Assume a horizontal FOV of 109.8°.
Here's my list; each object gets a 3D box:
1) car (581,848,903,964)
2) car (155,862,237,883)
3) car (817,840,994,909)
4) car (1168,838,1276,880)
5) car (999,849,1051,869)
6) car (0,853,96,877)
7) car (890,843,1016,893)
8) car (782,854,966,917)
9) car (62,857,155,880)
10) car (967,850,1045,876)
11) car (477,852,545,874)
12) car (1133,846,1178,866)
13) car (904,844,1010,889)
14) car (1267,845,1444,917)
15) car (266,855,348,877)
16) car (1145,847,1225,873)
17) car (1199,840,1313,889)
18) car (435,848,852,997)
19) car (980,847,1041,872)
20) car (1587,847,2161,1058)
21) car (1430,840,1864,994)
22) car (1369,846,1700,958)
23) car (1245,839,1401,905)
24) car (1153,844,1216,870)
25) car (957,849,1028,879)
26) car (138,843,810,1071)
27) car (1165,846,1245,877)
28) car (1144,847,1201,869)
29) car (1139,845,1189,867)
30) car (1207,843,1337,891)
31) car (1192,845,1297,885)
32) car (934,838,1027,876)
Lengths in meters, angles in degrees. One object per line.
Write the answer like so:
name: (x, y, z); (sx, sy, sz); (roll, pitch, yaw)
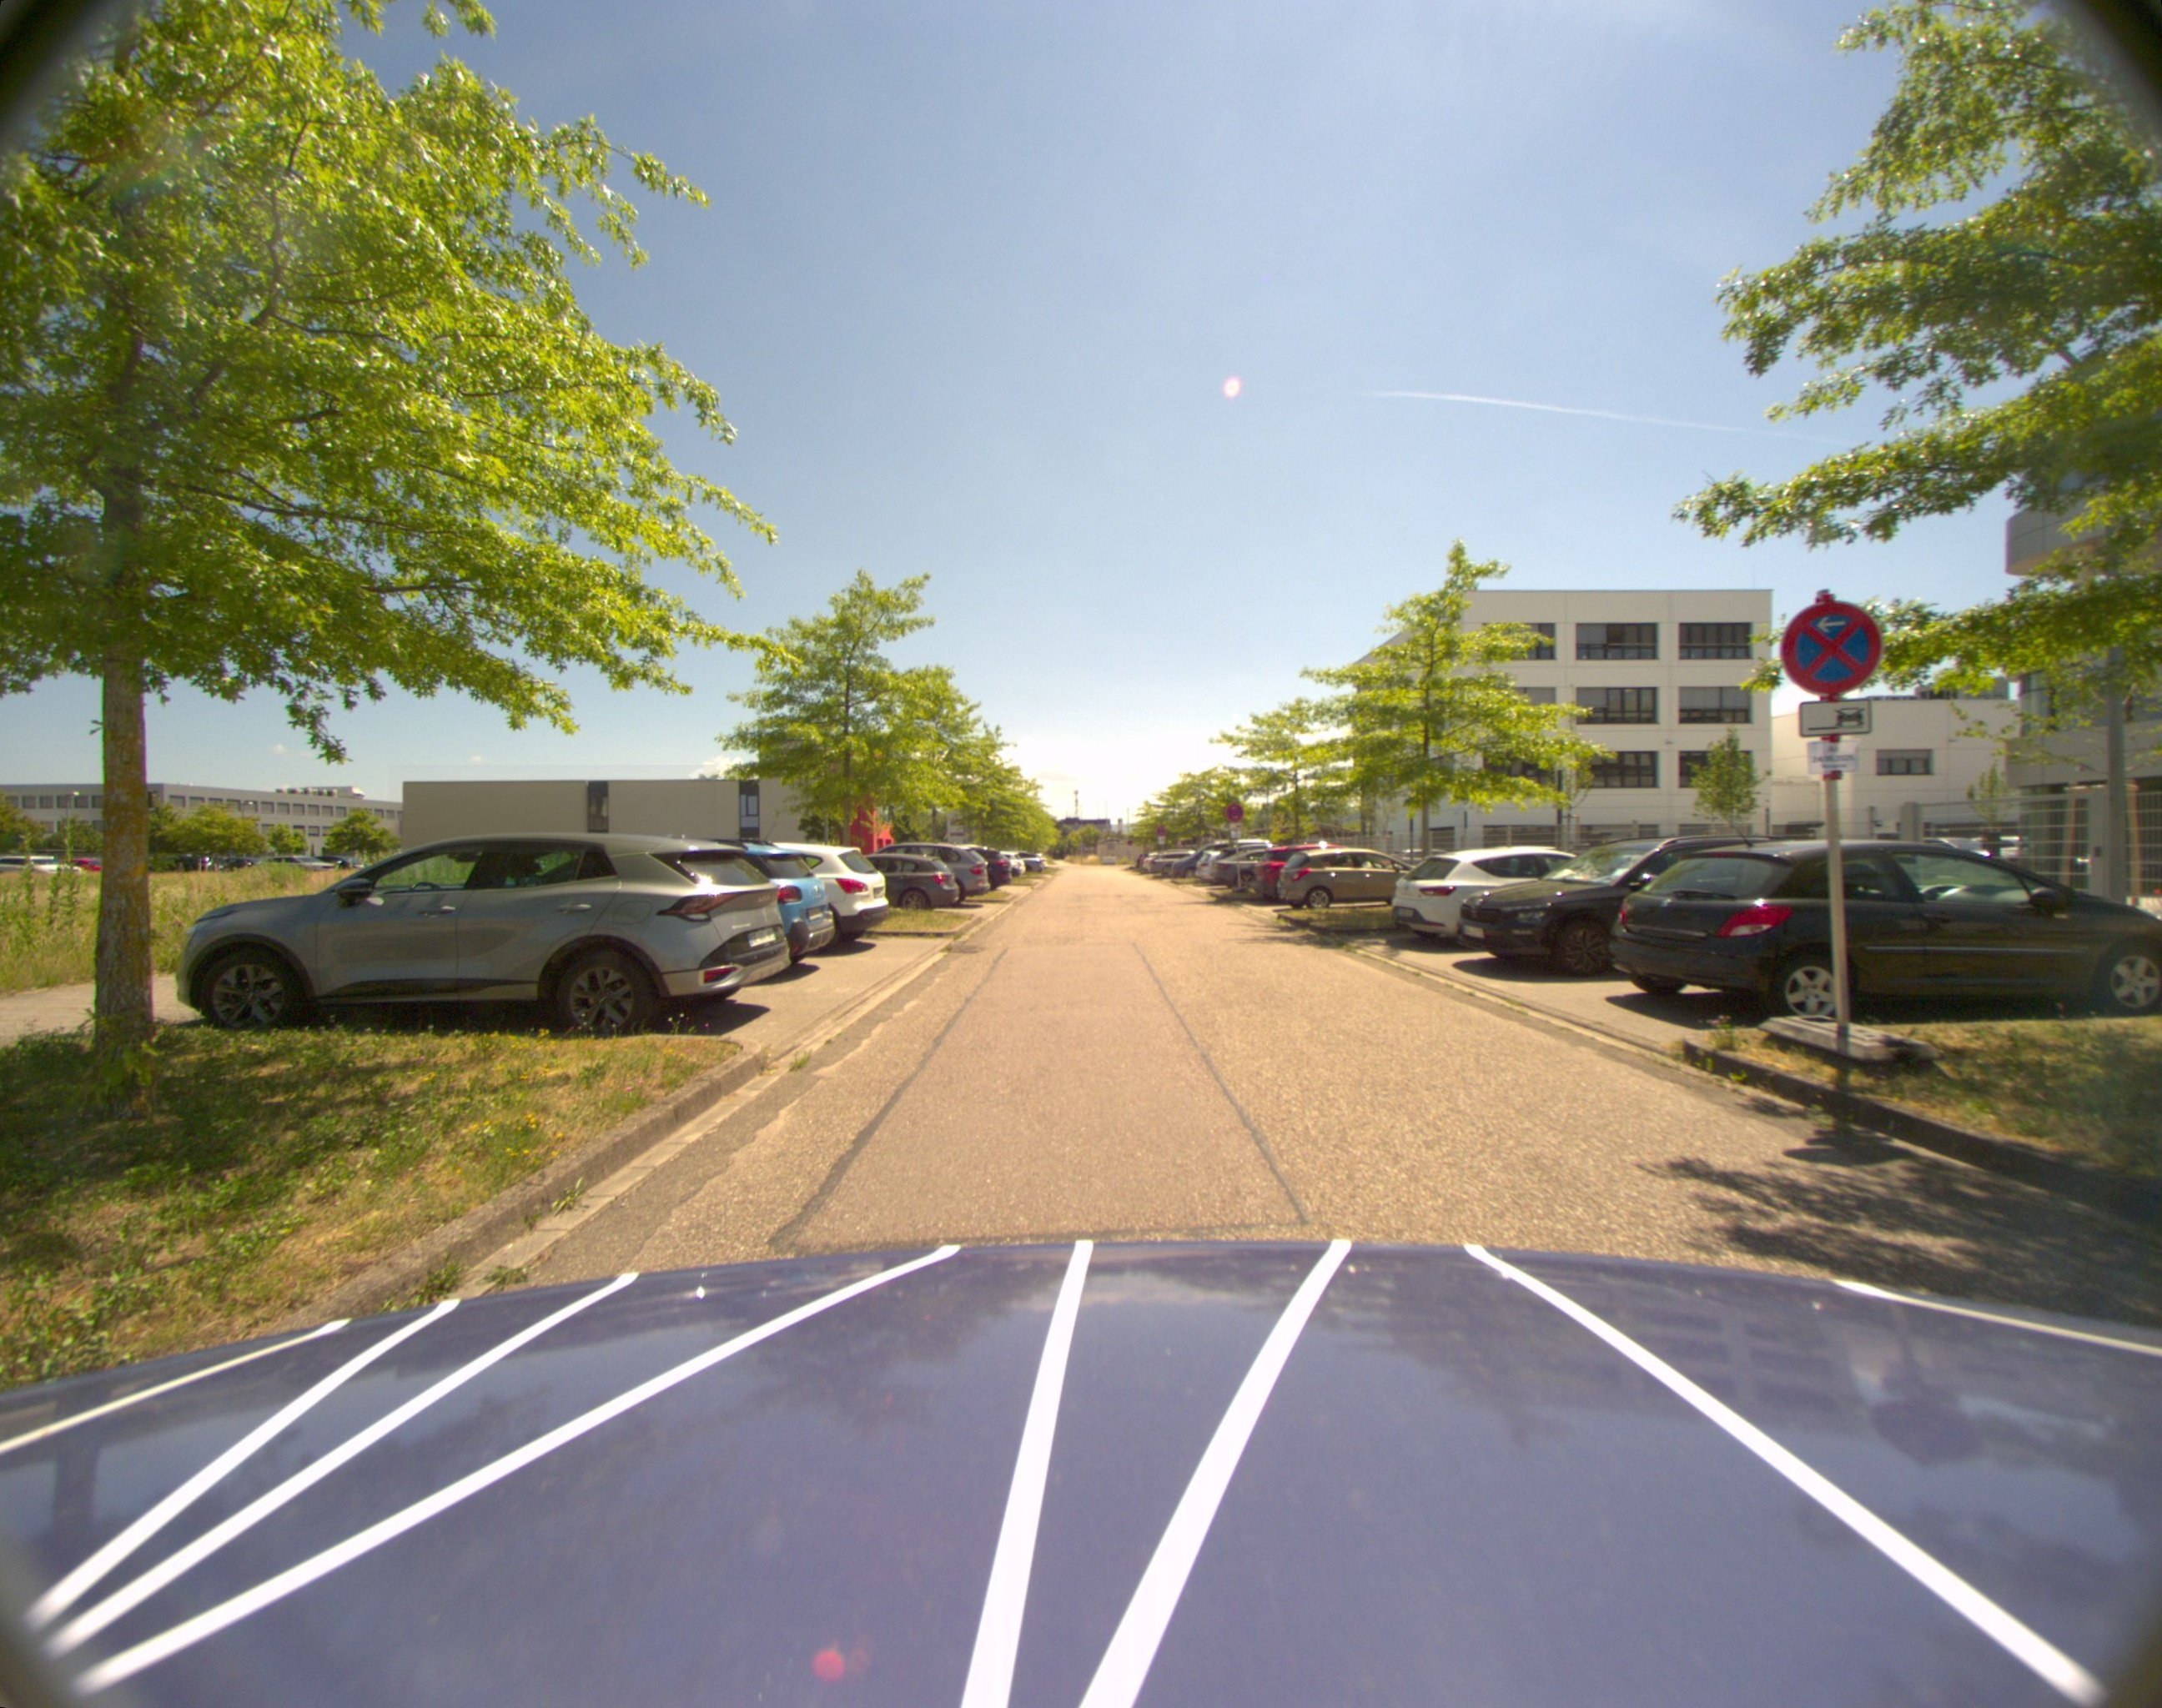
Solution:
car: (-5.016, 0.732, 11.705); (4.078, 1.598, 1.901); (0, 2, 0)
car: (-65.709, 1.375, 56.441); (3.997, 1.501, 1.719); (0, 1, 0)
car: (-4.735, 0.535, 21.015); (4.461, 1.758, 1.992); (1, 1, -2)
car: (7.083, 0.244, 38.584); (5.082, 1.881, 1.997); (-2, 1, 1)
car: (-4.353, 0.382, 59.832); (3.842, 1.544, 1.780); (0, 0, 5)
car: (-66.264, 0.687, 48.711); (3.997, 1.444, 1.719); (0, 1, 0)
car: (-4.492, 0.486, 27.080); (4.184, 1.686, 1.782); (1, 1, -1)
car: (-4.903, 0.733, 18.429); (3.933, 1.402, 1.908); (0, 2, 0)
car: (-65.644, 0.948, 51.315); (3.997, 1.501, 1.719); (0, 1, 0)
car: (-4.669, 0.530, 47.608); (4.729, 1.552, 1.913); (1, 1, -4)
car: (-38.596, 0.602, 51.508); (3.331, 1.501, 1.719); (0, 1, 0)
car: (6.682, 0.171, 68.675); (3.915, 1.582, 1.728); (-3, 0, 4)
car: (-4.821, 0.471, 29.915); (3.885, 1.668, 1.782); (1, 1, 0)
car: (6.653, 0.621, 18.640); (3.667, 1.500, 1.730); (-3, 1, -4)
car: (-55.105, 0.853, 54.150); (3.997, 1.501, 1.719); (0, 1, -1)
car: (6.564, 0.382, 48.158); (4.725, 1.439, 1.857); (-3, 0, -1)
car: (6.903, 0.380, 30.153); (3.998, 1.669, 1.776); (-3, 1, -5)
car: (-5.077, 0.750, 9.275); (3.997, 1.635, 1.838); (0, 1, -1)
car: (-4.865, 0.357, 52.775); (4.057, 1.616, 1.693); (1, 1, 1)
car: (6.840, 0.735, 6.673); (3.635, 1.427, 1.725); (-3, 1, -3)
car: (6.660, 0.681, 9.263); (3.937, 1.512, 1.784); (-3, 1, -1)
car: (6.932, 0.675, 11.905); (4.087, 1.416, 1.873); (-3, 1, -4)
car: (6.659, 0.477, 21.194); (3.747, 1.612, 1.816); (-2, 1, 1)
car: (7.205, 0.191, 52.995); (4.127, 1.625, 1.727); (-3, 0, 2)
car: (-4.748, 0.532, 41.153); (3.640, 1.494, 1.676); (1, 1, 1)
car: (-4.816, 0.754, 6.543); (4.290, 1.635, 1.850); (1, 1, 0)
car: (6.704, 0.406, 41.366); (3.979, 1.475, 1.764); (-3, 0, 0)
car: (7.114, 0.323, 59.317); (4.182, 1.504, 1.807); (-3, -1, 2)
car: (6.768, 0.172, 62.129); (3.849, 1.582, 1.727); (-3, 0, -2)
car: (6.817, 0.437, 27.353); (4.204, 1.471, 1.712); (-3, 1, 0)
car: (6.927, 0.453, 32.465); (4.048, 1.452, 1.604); (-3, 1, -3)
car: (-5.048, 0.129, 38.536); (4.414, 1.819, 1.795); (1, 1, 1)
